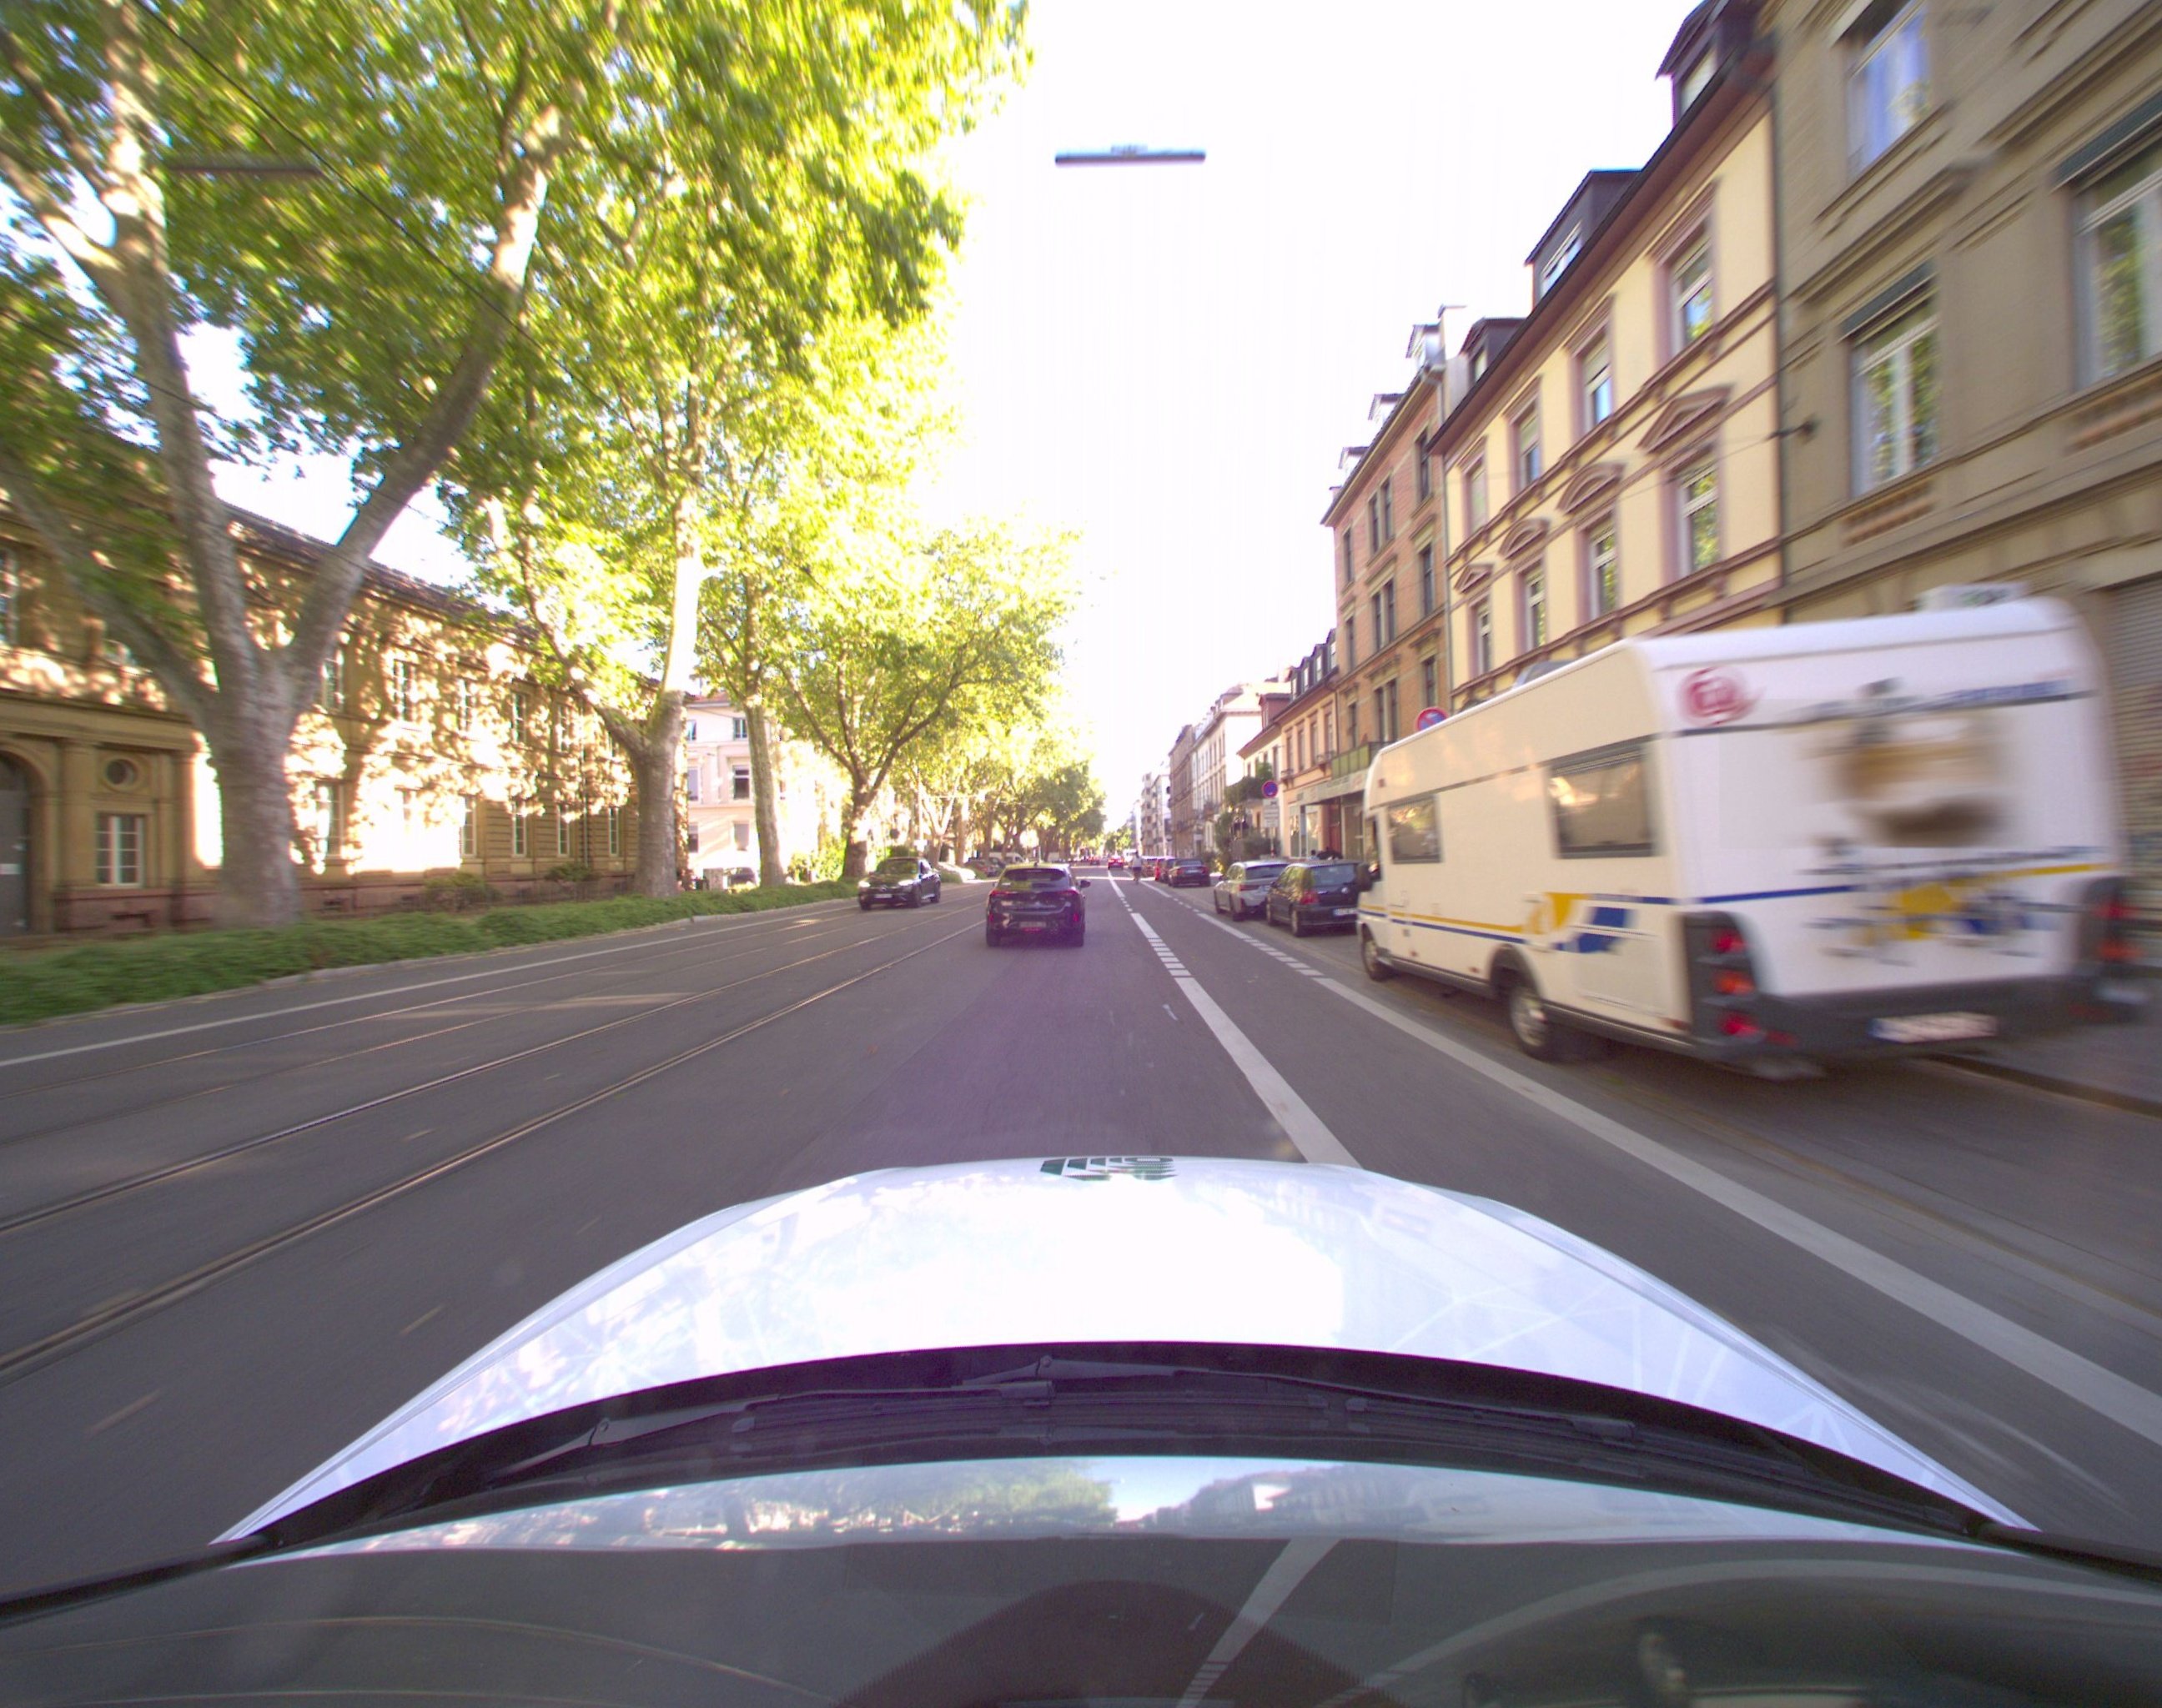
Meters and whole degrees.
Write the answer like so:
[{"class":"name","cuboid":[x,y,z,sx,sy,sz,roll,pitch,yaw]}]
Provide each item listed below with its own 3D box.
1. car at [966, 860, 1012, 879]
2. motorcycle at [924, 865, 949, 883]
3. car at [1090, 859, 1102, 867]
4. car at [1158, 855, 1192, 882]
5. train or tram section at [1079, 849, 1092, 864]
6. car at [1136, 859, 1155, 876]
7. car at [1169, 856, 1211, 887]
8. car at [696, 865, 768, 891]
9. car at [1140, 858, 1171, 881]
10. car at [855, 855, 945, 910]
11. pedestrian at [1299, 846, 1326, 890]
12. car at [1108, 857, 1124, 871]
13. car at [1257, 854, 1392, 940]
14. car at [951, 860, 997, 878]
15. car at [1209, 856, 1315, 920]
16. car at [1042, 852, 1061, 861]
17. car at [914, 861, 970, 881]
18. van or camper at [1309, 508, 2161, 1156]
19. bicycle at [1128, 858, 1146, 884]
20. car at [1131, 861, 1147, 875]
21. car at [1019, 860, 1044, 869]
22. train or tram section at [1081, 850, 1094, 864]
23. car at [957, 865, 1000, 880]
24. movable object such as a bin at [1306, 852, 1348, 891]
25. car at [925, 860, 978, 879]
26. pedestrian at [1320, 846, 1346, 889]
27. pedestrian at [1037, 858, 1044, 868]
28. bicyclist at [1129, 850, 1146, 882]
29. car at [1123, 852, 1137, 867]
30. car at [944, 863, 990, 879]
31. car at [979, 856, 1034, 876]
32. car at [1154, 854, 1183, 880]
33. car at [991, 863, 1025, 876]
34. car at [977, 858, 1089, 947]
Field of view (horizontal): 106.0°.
[{"class":"car","cuboid":[-9.879,1.665,87.929,4.656,1.924,1.981,1,-1,2]},{"class":"motorcycle","cuboid":[-9.610,1.303,54.405,0.879,1.147,2.397,-1,0,9]},{"class":"car","cuboid":[2.418,1.442,134.202,1.802,1.338,3.935,-1,-1,3]},{"class":"car","cuboid":[5.499,0.856,47.979,1.644,1.456,3.870,-2,-1,2]},{"class":"train or tram section","cuboid":[1.245,0.729,210.411,2.723,3.682,12.724,-2,-1,3]},{"class":"car","cuboid":[6.251,1.341,79.218,1.704,1.483,3.766,-4,-1,3]},{"class":"car","cuboid":[5.359,0.835,40.616,1.687,1.392,4.497,-2,-1,3]},{"class":"car","cuboid":[-22.050,1.479,51.553,3.762,1.418,1.695,-2,2,2]},{"class":"car","cuboid":[5.830,1.233,63.834,1.875,1.586,3.930,-4,-1,-2]},{"class":"car","cuboid":[-5.988,0.890,27.501,1.860,1.629,4.561,-1,0,1]},{"class":"pedestrian","cuboid":[8.046,0.487,28.355,0.658,1.505,0.866,-2,-1,1]},{"class":"car","cuboid":[4.384,1.254,101.489,1.802,1.742,3.935,-1,-1,3]},{"class":"car","cuboid":[4.801,0.792,16.603,1.638,1.434,4.032,-4,-1,3]},{"class":"car","cuboid":[-9.952,1.398,76.097,3.980,1.627,1.880,1,-1,1]},{"class":"car","cuboid":[4.619,0.819,21.415,1.803,1.435,4.666,-2,-1,1]},{"class":"car","cuboid":[-5.930,0.560,164.459,3.909,1.790,1.676,1,-1,-2]},{"class":"car","cuboid":[-10.633,1.283,62.579,3.907,1.453,1.800,-1,-1,1]},{"class":"van or camper","cuboid":[4.457,-0.061,7.887,2.467,2.972,7.889,-4,-1,3]},{"class":"bicycle","cuboid":[3.169,0.950,45.996,0.857,1.407,2.524,0,-1,1]},{"class":"car","cuboid":[6.626,1.566,92.943,1.697,1.456,3.702,-4,-1,5]},{"class":"car","cuboid":[-8.111,1.767,134.025,3.909,1.498,1.676,1,-1,-2]},{"class":"train or tram section","cuboid":[1.852,0.912,223.069,2.723,3.682,12.724,-2,-1,3]},{"class":"car","cuboid":[-9.887,1.748,78.495,3.907,1.422,1.818,1,-1,0]},{"class":"movable object such as a bin","cuboid":[9.710,0.680,32.173,1.288,1.520,1.286,-1,-1,1]},{"class":"car","cuboid":[-10.328,1.219,65.302,3.905,1.462,1.806,-1,-1,2]},{"class":"pedestrian","cuboid":[8.777,0.472,28.360,0.655,1.483,0.785,0,-1,1]},{"class":"pedestrian","cuboid":[-6.066,1.348,121.711,0.769,1.567,0.676,0,-1,-23]},{"class":"bicyclist","cuboid":[3.177,0.673,46.031,0.845,1.740,1.162,0,-1,0]},{"class":"car","cuboid":[7.826,0.899,130.548,2.067,2.219,4.936,-4,-1,3]},{"class":"car","cuboid":[-10.317,1.546,73.914,3.905,1.442,1.749,1,-1,1]},{"class":"car","cuboid":[-9.381,1.490,103.028,6.603,2.409,2.458,1,-1,1]},{"class":"car","cuboid":[5.581,0.836,52.484,1.628,1.547,3.578,-2,-1,3]},{"class":"car","cuboid":[-8.710,1.888,97.587,3.904,1.498,1.678,1,-1,2]},{"class":"car","cuboid":[-0.776,0.805,15.236,1.787,1.441,3.532,-1,0,1]}]
